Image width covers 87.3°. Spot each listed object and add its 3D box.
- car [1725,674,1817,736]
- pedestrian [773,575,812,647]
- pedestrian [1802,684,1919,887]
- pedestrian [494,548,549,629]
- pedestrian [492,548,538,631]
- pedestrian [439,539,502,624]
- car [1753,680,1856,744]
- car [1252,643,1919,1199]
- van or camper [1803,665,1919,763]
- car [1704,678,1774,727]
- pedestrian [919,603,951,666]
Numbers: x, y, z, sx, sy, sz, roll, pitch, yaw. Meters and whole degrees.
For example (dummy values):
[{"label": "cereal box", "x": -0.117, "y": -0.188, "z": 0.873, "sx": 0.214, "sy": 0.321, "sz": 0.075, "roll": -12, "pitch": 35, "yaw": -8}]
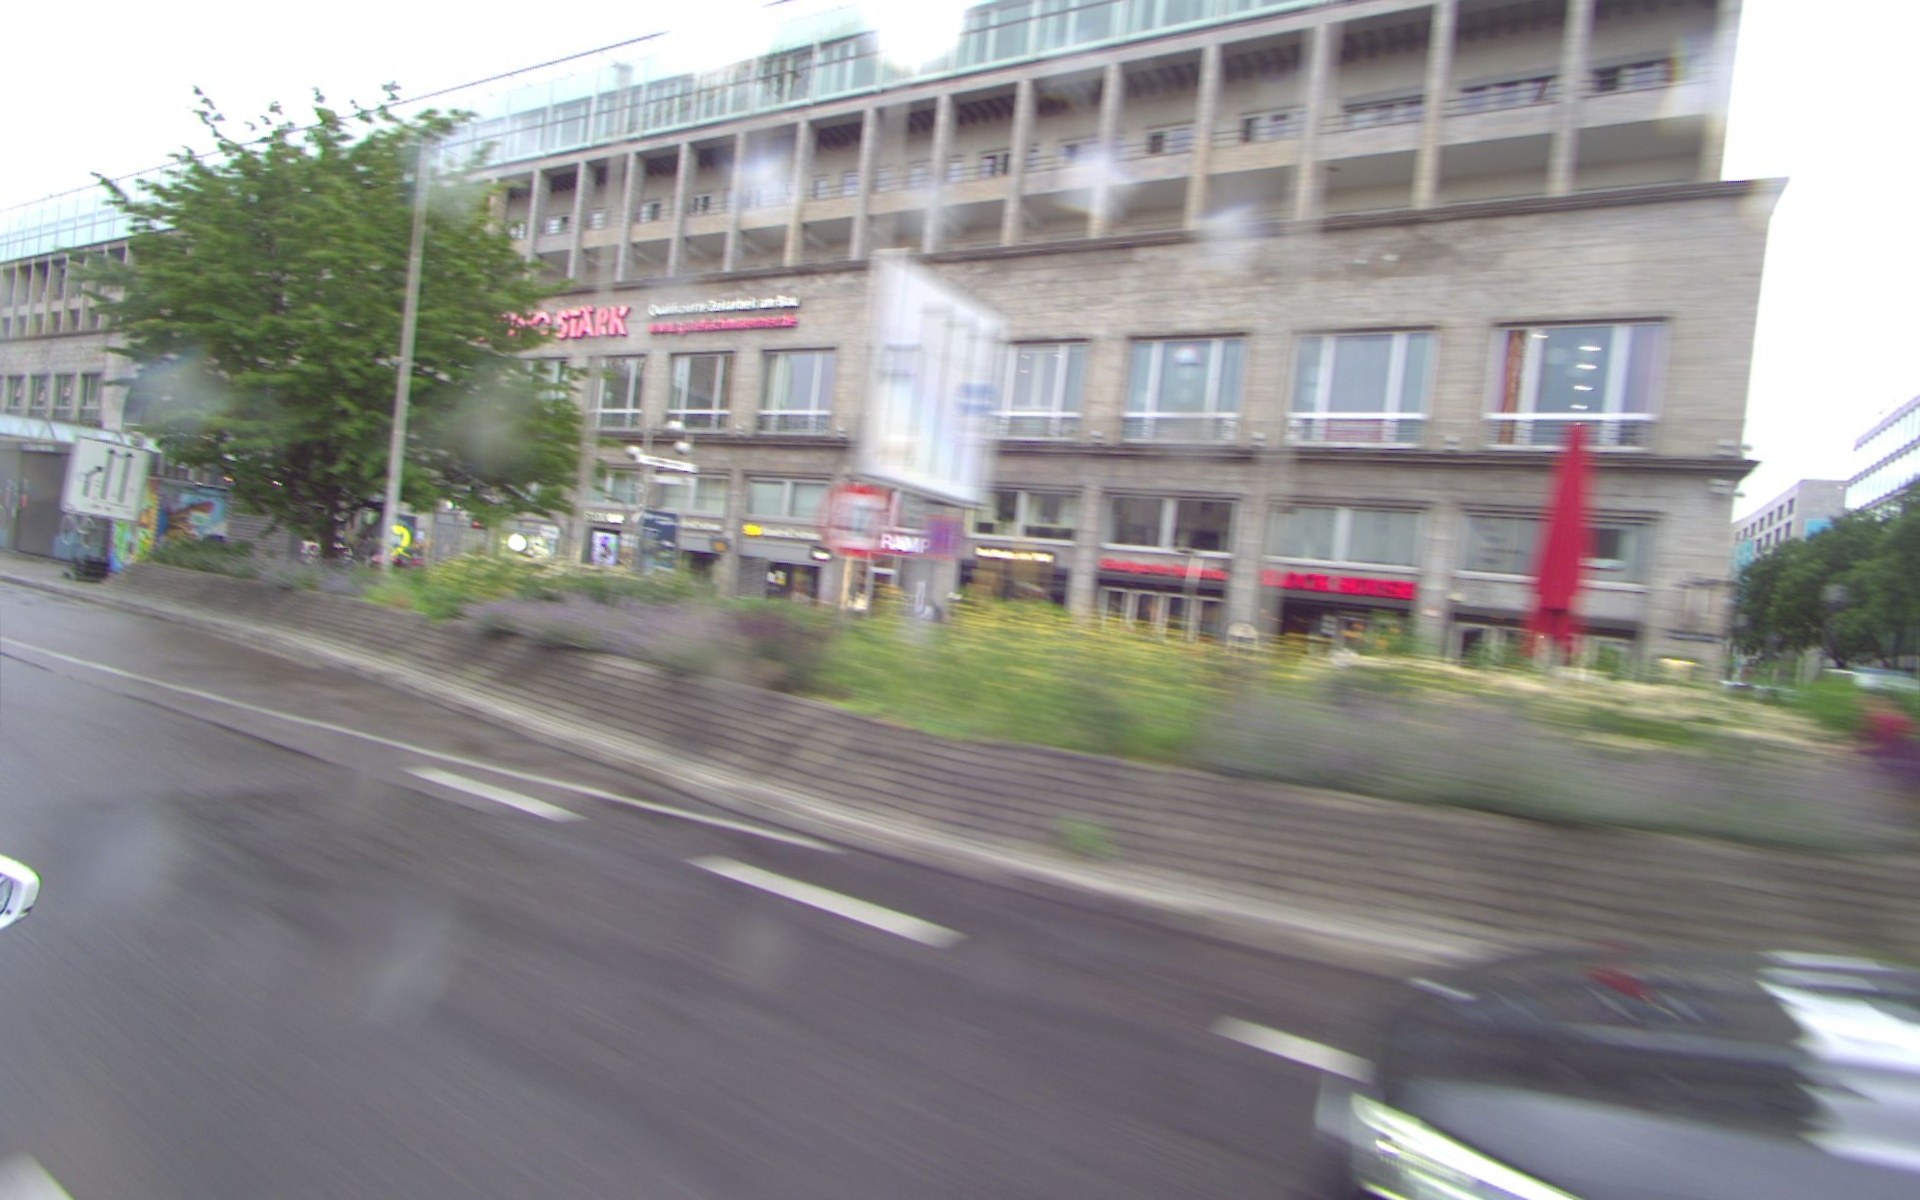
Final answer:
[{"label": "car", "x": 35.841, "y": 4.595, "z": 44.605, "sx": 2.295, "sy": 2.323, "sz": 4.689, "roll": 6, "pitch": -1, "yaw": 30}, {"label": "pedestrian", "x": -4.347, "y": 0.282, "z": 26.098, "sx": 0.625, "sy": 1.772, "sz": 0.532, "roll": 6, "pitch": 0, "yaw": 28}, {"label": "pedestrian", "x": 8.748, "y": 1.732, "z": 9.596, "sx": 0.823, "sy": 1.772, "sz": 0.699, "roll": 6, "pitch": 0, "yaw": 28}, {"label": "pedestrian", "x": -10.261, "y": -0.263, "z": 23.542, "sx": 0.853, "sy": 1.772, "sz": 0.613, "roll": 6, "pitch": 0, "yaw": 28}, {"label": "pedestrian", "x": -9.973, "y": -0.237, "z": 22.551, "sx": 0.558, "sy": 1.772, "sz": 0.567, "roll": 6, "pitch": 0, "yaw": 28}, {"label": "pedestrian", "x": -11.019, "y": -0.411, "z": 22.642, "sx": 1.058, "sy": 1.772, "sz": 0.641, "roll": 6, "pitch": 0, "yaw": 28}, {"label": "car", "x": 32.899, "y": 4.309, "z": 39.326, "sx": 2.126, "sy": 2.072, "sz": 4.406, "roll": 6, "pitch": -1, "yaw": 30}, {"label": "car", "x": 2.911, "y": 1.070, "z": 1.208, "sx": 4.622, "sy": 1.481, "sz": 1.821, "roll": 6, "pitch": -1, "yaw": 31}, {"label": "van or camper", "x": 29.311, "y": 3.603, "z": 32.254, "sx": 2.456, "sy": 2.672, "sz": 5.997, "roll": 6, "pitch": -1, "yaw": 32}, {"label": "car", "x": 39.469, "y": 5.168, "z": 51.090, "sx": 2.062, "sy": 2.128, "sz": 4.293, "roll": 6, "pitch": -1, "yaw": 30}, {"label": "pedestrian", "x": -0.741, "y": 1.016, "z": 29.608, "sx": 0.563, "sy": 1.772, "sz": 0.527, "roll": 6, "pitch": 0, "yaw": 30}]
